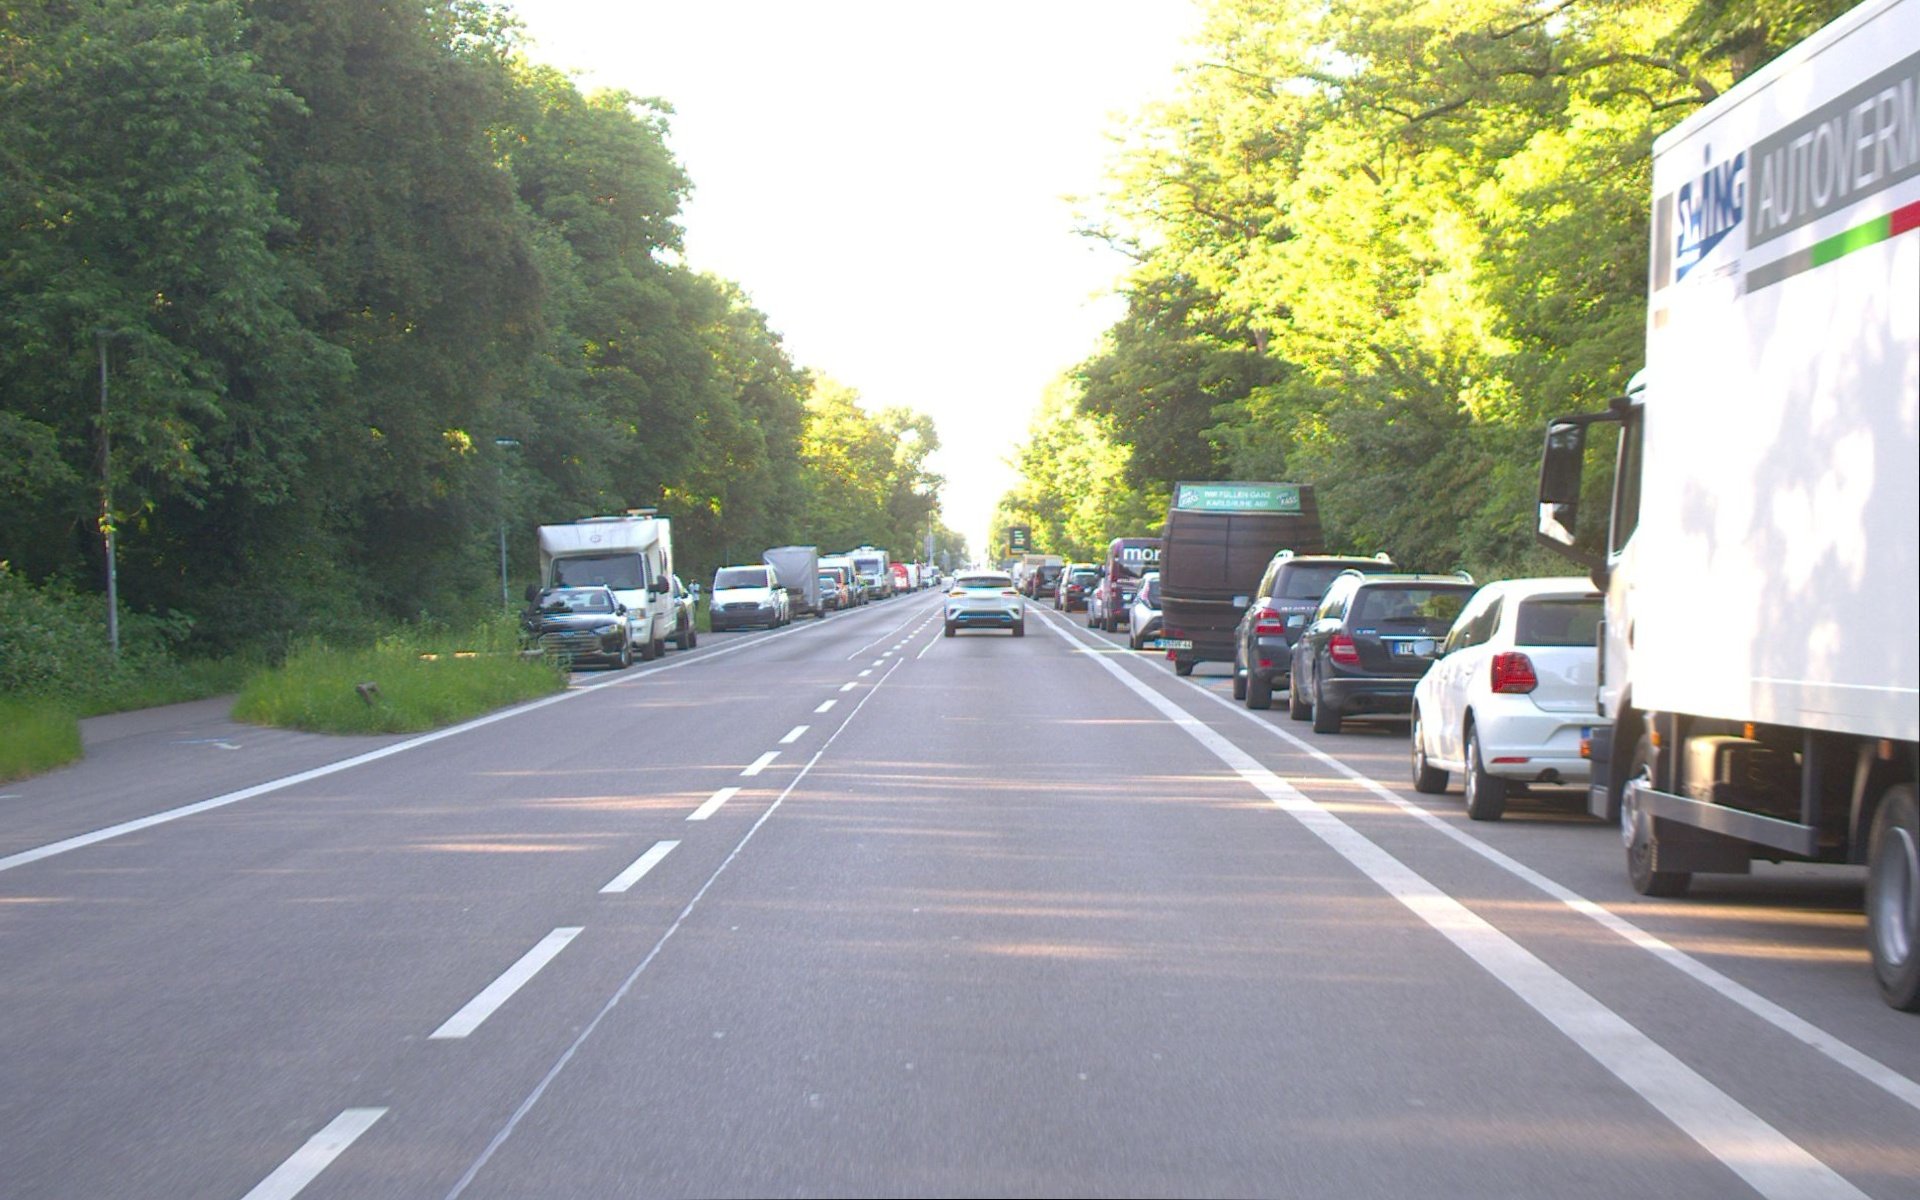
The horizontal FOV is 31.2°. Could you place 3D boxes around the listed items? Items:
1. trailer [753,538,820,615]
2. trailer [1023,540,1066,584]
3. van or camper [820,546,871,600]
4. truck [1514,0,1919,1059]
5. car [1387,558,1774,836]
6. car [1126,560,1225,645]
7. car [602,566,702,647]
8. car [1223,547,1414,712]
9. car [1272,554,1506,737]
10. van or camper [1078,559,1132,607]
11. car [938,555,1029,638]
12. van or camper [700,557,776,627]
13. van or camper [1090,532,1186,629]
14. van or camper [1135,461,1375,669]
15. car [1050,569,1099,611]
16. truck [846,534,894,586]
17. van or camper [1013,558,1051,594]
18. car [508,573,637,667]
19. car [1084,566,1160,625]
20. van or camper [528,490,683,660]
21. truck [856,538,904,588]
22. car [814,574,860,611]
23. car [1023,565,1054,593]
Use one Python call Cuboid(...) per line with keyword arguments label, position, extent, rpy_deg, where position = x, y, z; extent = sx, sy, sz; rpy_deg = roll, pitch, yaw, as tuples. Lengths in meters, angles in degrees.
Cuboid(label="trailer", position=(-6.196, -0.853, 123.187), extent=(1.993, 2.589, 4.415), rpy_deg=(-3, 0, 1))
Cuboid(label="trailer", position=(5.676, -2.552, 231.774), extent=(2.757, 2.860, 6.588), rpy_deg=(-1, 0, 1))
Cuboid(label="van or camper", position=(-5.619, -1.342, 168.850), extent=(2.121, 2.563, 6.542), rpy_deg=(-2, 0, 1))
Cuboid(label="truck", position=(4.300, -0.397, 13.179), extent=(2.832, 3.486, 8.579), rpy_deg=(-1, 1, -1))
Cuboid(label="car", position=(3.818, 0.533, 21.783), extent=(1.712, 1.563, 4.000), rpy_deg=(1, 1, 0))
Cuboid(label="car", position=(4.076, 0.024, 65.600), extent=(1.712, 1.540, 4.022), rpy_deg=(1, 1, 2))
Cuboid(label="car", position=(-6.640, 0.113, 74.470), extent=(1.646, 1.626, 4.273), rpy_deg=(-3, 1, 1))
Cuboid(label="car", position=(3.870, 0.274, 37.736), extent=(1.712, 1.659, 4.551), rpy_deg=(1, 1, 2))
Cuboid(label="car", position=(3.949, 0.365, 32.248), extent=(1.712, 1.563, 4.551), rpy_deg=(1, 1, 2))
Cuboid(label="van or camper", position=(5.595, -0.673, 133.302), extent=(1.951, 1.809, 4.380), rpy_deg=(0, 0, 1))
Cuboid(label="car", position=(0.555, -0.097, 79.395), extent=(2.029, 1.834, 4.029), rpy_deg=(-1, 1, 1))
Cuboid(label="van or camper", position=(-6.457, -0.254, 100.459), extent=(1.835, 1.905, 4.856), rpy_deg=(-2, 1, 0))
Cuboid(label="van or camper", position=(4.455, -0.506, 86.820), extent=(2.035, 2.304, 6.041), rpy_deg=(-2, 1, 0))
Cuboid(label="van or camper", position=(4.432, -0.542, 50.421), extent=(2.442, 2.790, 6.552), rpy_deg=(-1, 1, 14))
Cuboid(label="car", position=(4.214, -0.389, 127.121), extent=(1.690, 1.519, 4.149), rpy_deg=(1, 1, 1))
Cuboid(label="truck", position=(-5.923, -2.614, 227.510), extent=(2.708, 3.336, 10.923), rpy_deg=(-1, 0, 1))
Cuboid(label="van or camper", position=(3.889, -1.298, 187.015), extent=(1.993, 1.925, 5.199), rpy_deg=(0, 0, 1))
Cuboid(label="car", position=(-6.611, 0.307, 59.007), extent=(1.827, 1.471, 4.681), rpy_deg=(-2, 1, -3))
Cuboid(label="car", position=(4.395, -0.137, 93.626), extent=(1.747, 1.510, 4.000), rpy_deg=(-2, 1, -1))
Cuboid(label="van or camper", position=(-6.733, -0.488, 66.135), extent=(2.314, 2.960, 7.112), rpy_deg=(-3, 1, -2))
Cuboid(label="truck", position=(-5.004, -2.309, 216.212), extent=(2.708, 3.083, 7.989), rpy_deg=(-1, 0, 1))
Cuboid(label="car", position=(-5.356, -0.342, 150.122), extent=(1.731, 1.473, 4.324), rpy_deg=(-3, 0, 1))
Cuboid(label="car", position=(4.766, -1.266, 209.761), extent=(1.841, 1.656, 4.000), rpy_deg=(-1, 0, 1))
